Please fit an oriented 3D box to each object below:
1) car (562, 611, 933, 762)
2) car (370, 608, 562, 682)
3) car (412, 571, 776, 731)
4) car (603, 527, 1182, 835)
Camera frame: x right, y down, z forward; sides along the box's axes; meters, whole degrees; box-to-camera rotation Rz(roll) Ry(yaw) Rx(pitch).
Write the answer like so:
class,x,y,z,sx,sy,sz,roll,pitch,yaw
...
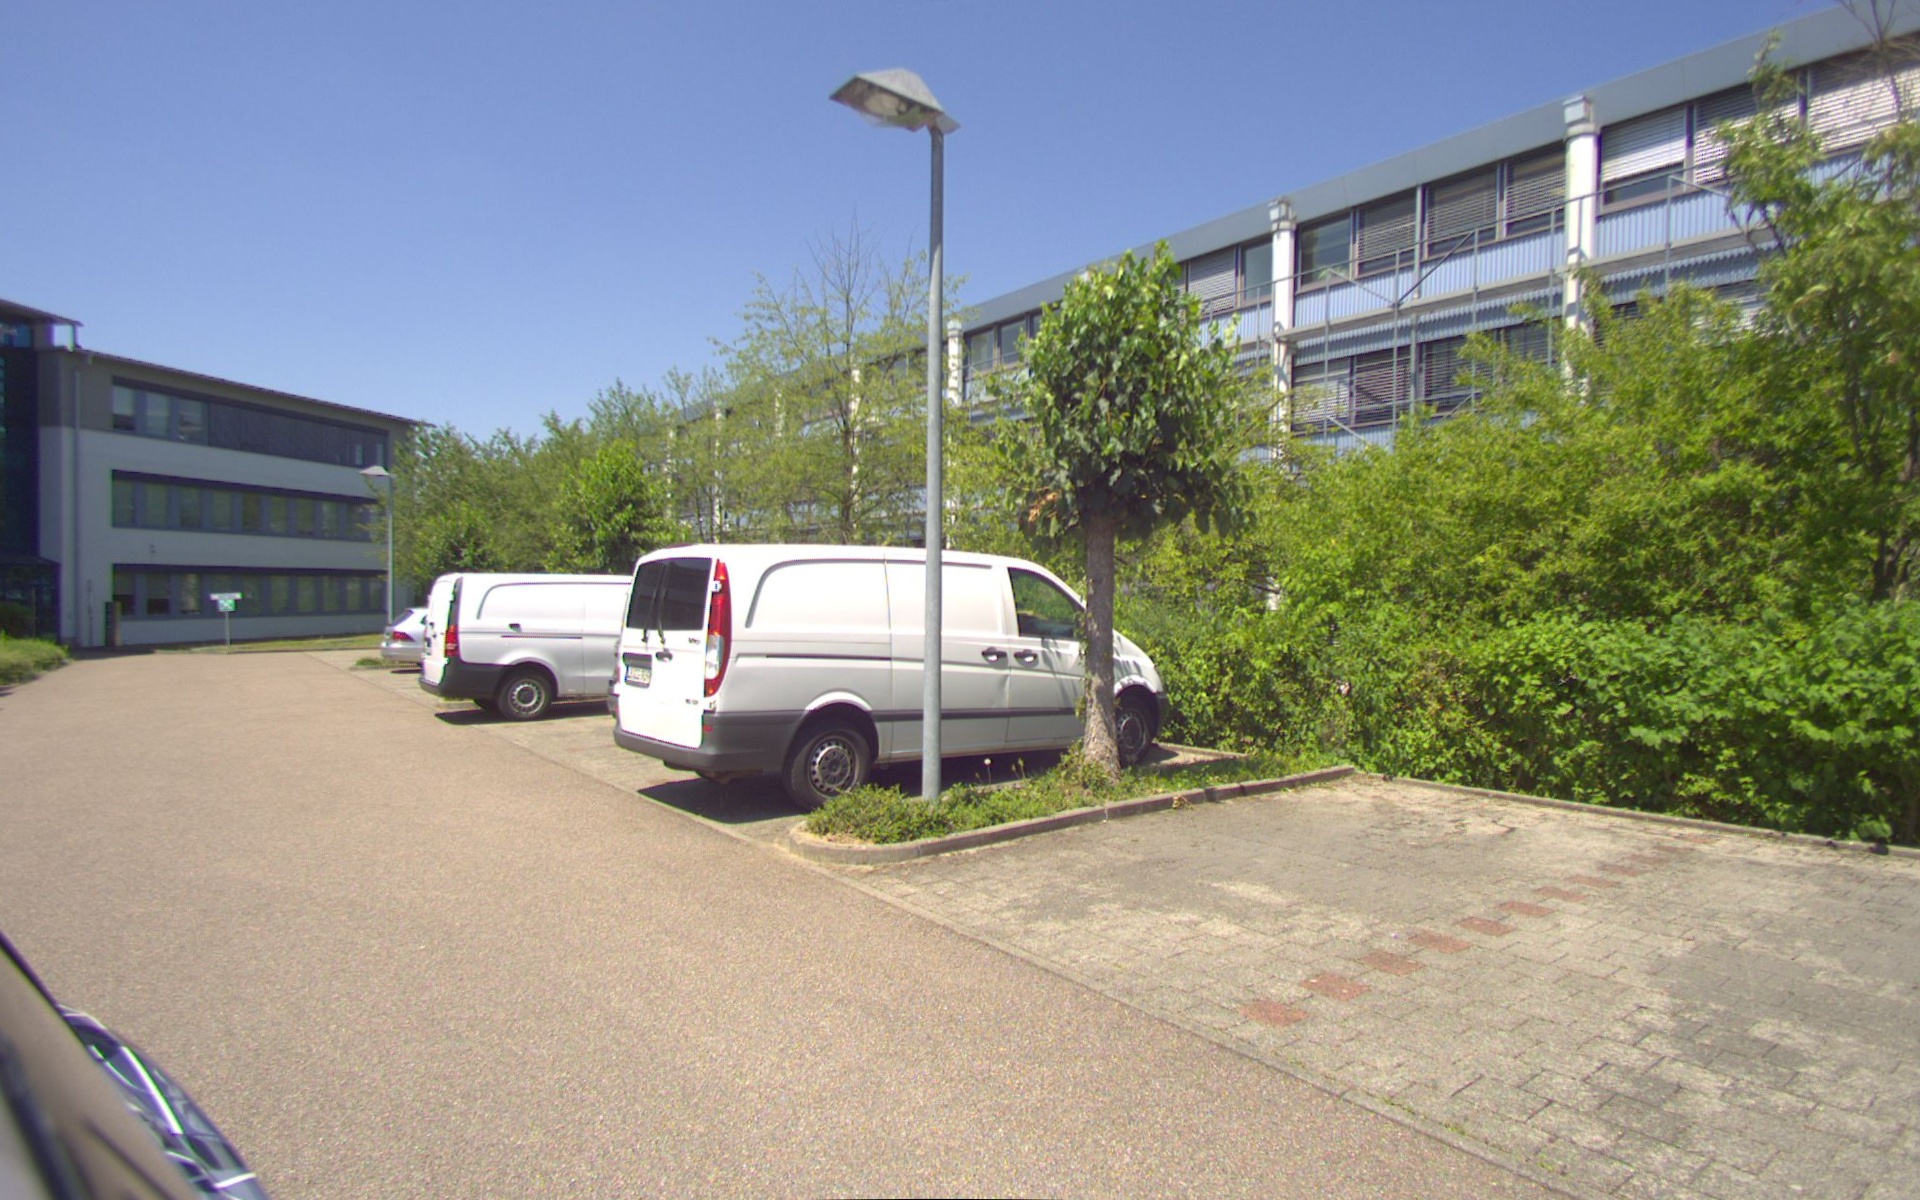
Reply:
class,x,y,z,sx,sy,sz,roll,pitch,yaw
car,-2.285,0.842,11.367,3.790,1.404,1.579,0,-1,-39
car,-11.293,0.971,23.230,3.705,1.569,1.664,0,-1,-39
car,-4.991,0.616,14.140,4.448,1.896,1.832,0,-1,-39
car,-0.352,0.517,8.506,4.660,1.920,1.833,0,-1,-39
